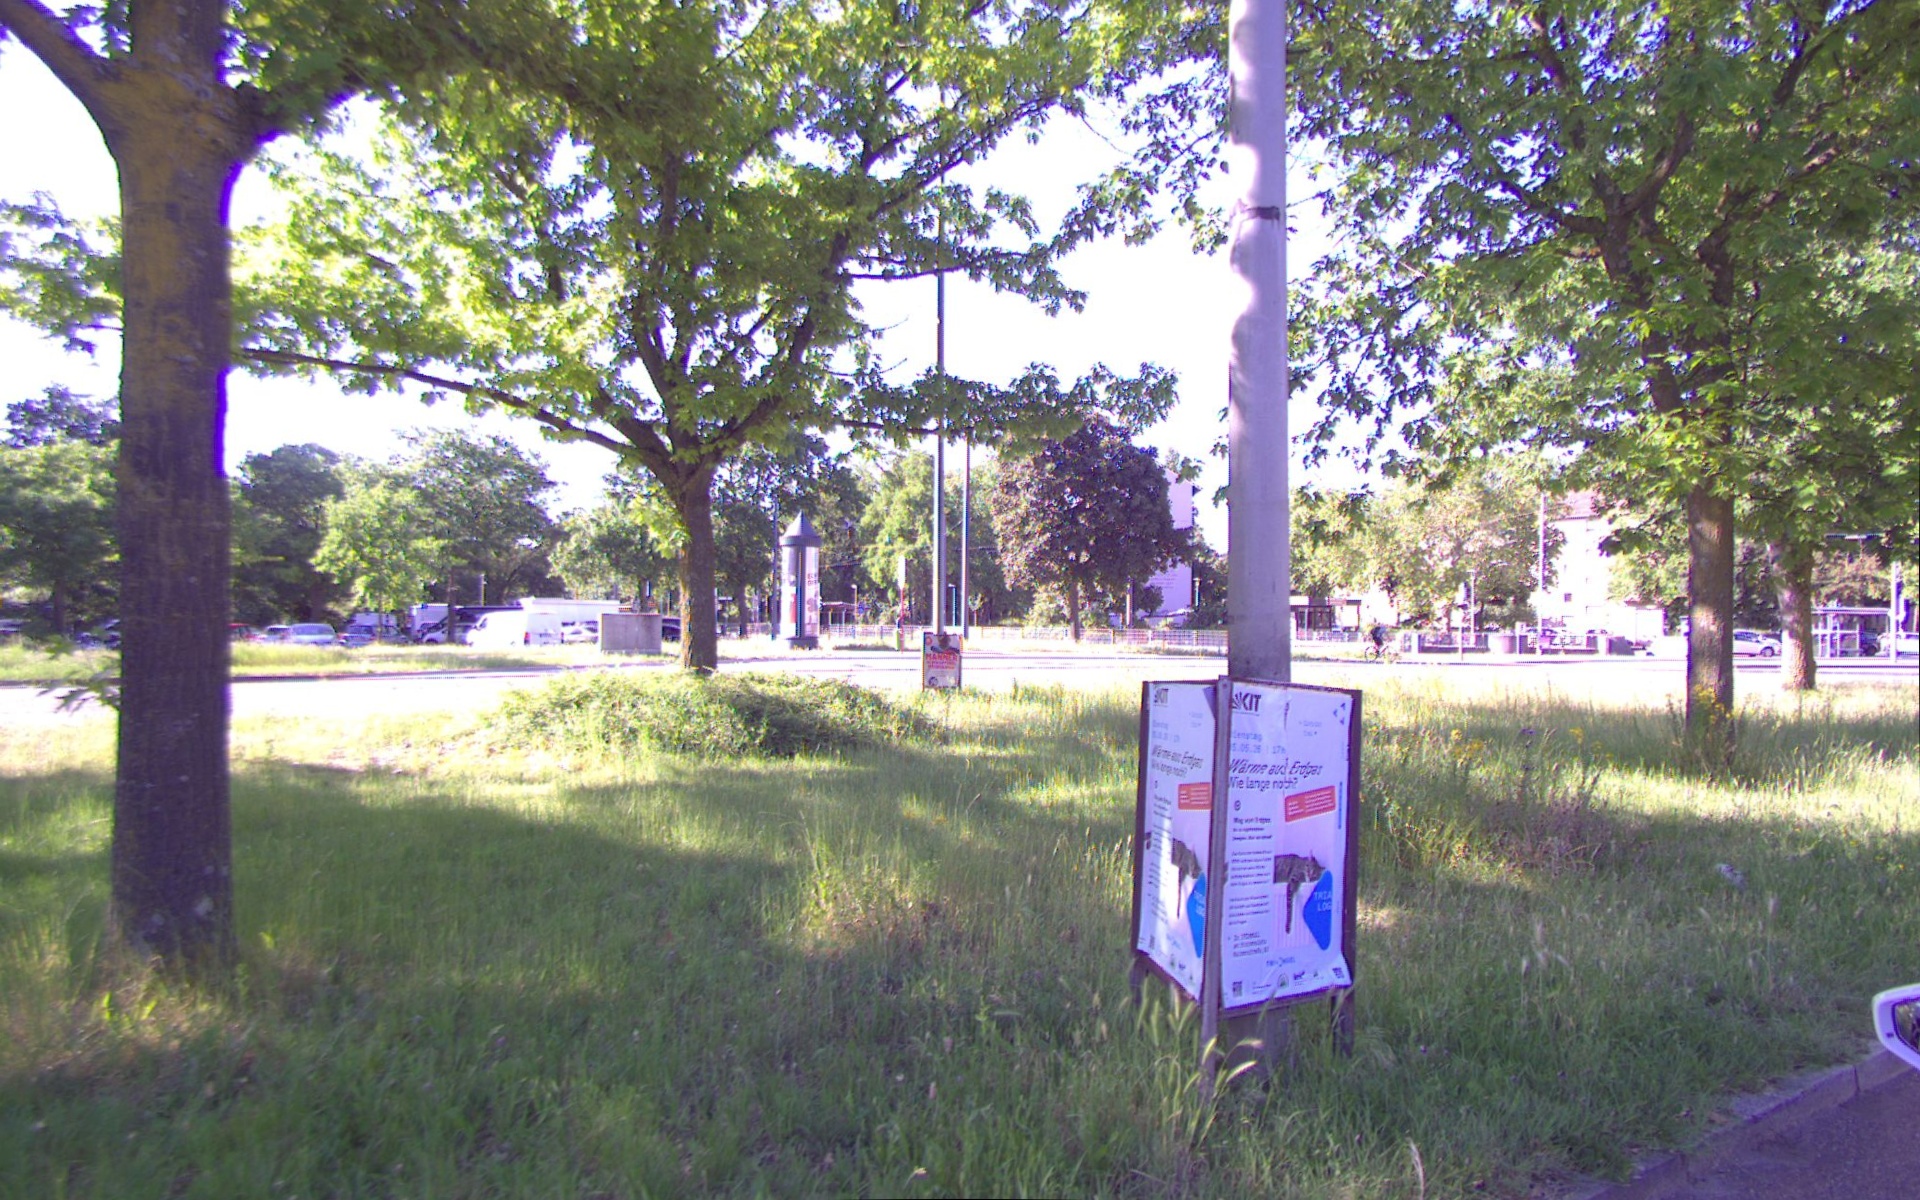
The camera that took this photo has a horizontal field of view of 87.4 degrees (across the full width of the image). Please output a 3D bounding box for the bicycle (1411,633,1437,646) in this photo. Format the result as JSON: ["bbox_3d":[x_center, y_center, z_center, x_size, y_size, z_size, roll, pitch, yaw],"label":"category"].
[{"bbox_3d":[32.919,2.801,71.274,1.652,0.850,0.548,0,-1,18],"label":"bicycle"}]

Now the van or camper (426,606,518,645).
[{"bbox_3d":[-27.660,1.452,57.087,4.326,2.124,1.995,1,-1,-14],"label":"van or camper"}]

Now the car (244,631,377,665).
[{"bbox_3d":[-23.543,1.699,36.476,3.962,1.143,1.803,1,-1,-37],"label":"car"}]

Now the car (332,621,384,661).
[{"bbox_3d":[-28.868,1.937,48.250,1.631,1.628,3.863,1,2,-23],"label":"car"}]

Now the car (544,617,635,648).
[{"bbox_3d":[-16.679,1.436,45.180,3.934,1.299,1.994,0,-1,35],"label":"car"}]

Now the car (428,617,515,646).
[{"bbox_3d":[-26.597,1.711,54.818,3.932,1.493,1.963,1,1,-14],"label":"car"}]

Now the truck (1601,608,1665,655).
[{"bbox_3d":[45.114,2.042,67.486,1.959,3.035,4.831,0,0,13],"label":"truck"}]

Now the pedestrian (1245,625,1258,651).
[{"bbox_3d":[20.860,2.722,71.859,0.714,1.853,0.559,1,-1,-9],"label":"pedestrian"}]

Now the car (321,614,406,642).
[{"bbox_3d":[-34.218,1.582,57.725,3.942,1.530,1.989,0,-1,-23],"label":"car"}]

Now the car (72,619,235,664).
[{"bbox_3d":[-27.724,1.412,34.651,3.929,1.467,1.819,1,-1,-11],"label":"car"}]

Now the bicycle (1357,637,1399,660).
[{"bbox_3d":[18.734,2.183,45.031,1.626,1.014,0.614,1,-1,-4],"label":"bicycle"}]

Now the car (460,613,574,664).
[{"bbox_3d":[-18.904,1.581,42.844,4.917,2.040,2.232,0,-1,35],"label":"car"}]

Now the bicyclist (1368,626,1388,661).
[{"bbox_3d":[18.746,1.943,45.052,0.663,1.551,0.614,0,1,-4],"label":"bicyclist"}]

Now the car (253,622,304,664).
[{"bbox_3d":[-31.318,1.935,46.223,1.635,1.628,3.854,1,2,-30],"label":"car"}]

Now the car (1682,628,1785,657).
[{"bbox_3d":[46.294,2.532,60.212,4.457,1.565,1.873,1,2,14],"label":"car"}]

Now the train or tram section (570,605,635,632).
[{"bbox_3d":[-42.643,2.115,119.111,2.444,2.979,19.655,1,-1,-34],"label":"train or tram section"}]

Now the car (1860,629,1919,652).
[{"bbox_3d":[63.388,2.741,67.303,1.651,1.468,4.362,1,-1,-33],"label":"car"}]

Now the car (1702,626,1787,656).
[{"bbox_3d":[48.701,2.553,62.424,3.922,1.741,1.763,0,2,-3],"label":"car"}]
